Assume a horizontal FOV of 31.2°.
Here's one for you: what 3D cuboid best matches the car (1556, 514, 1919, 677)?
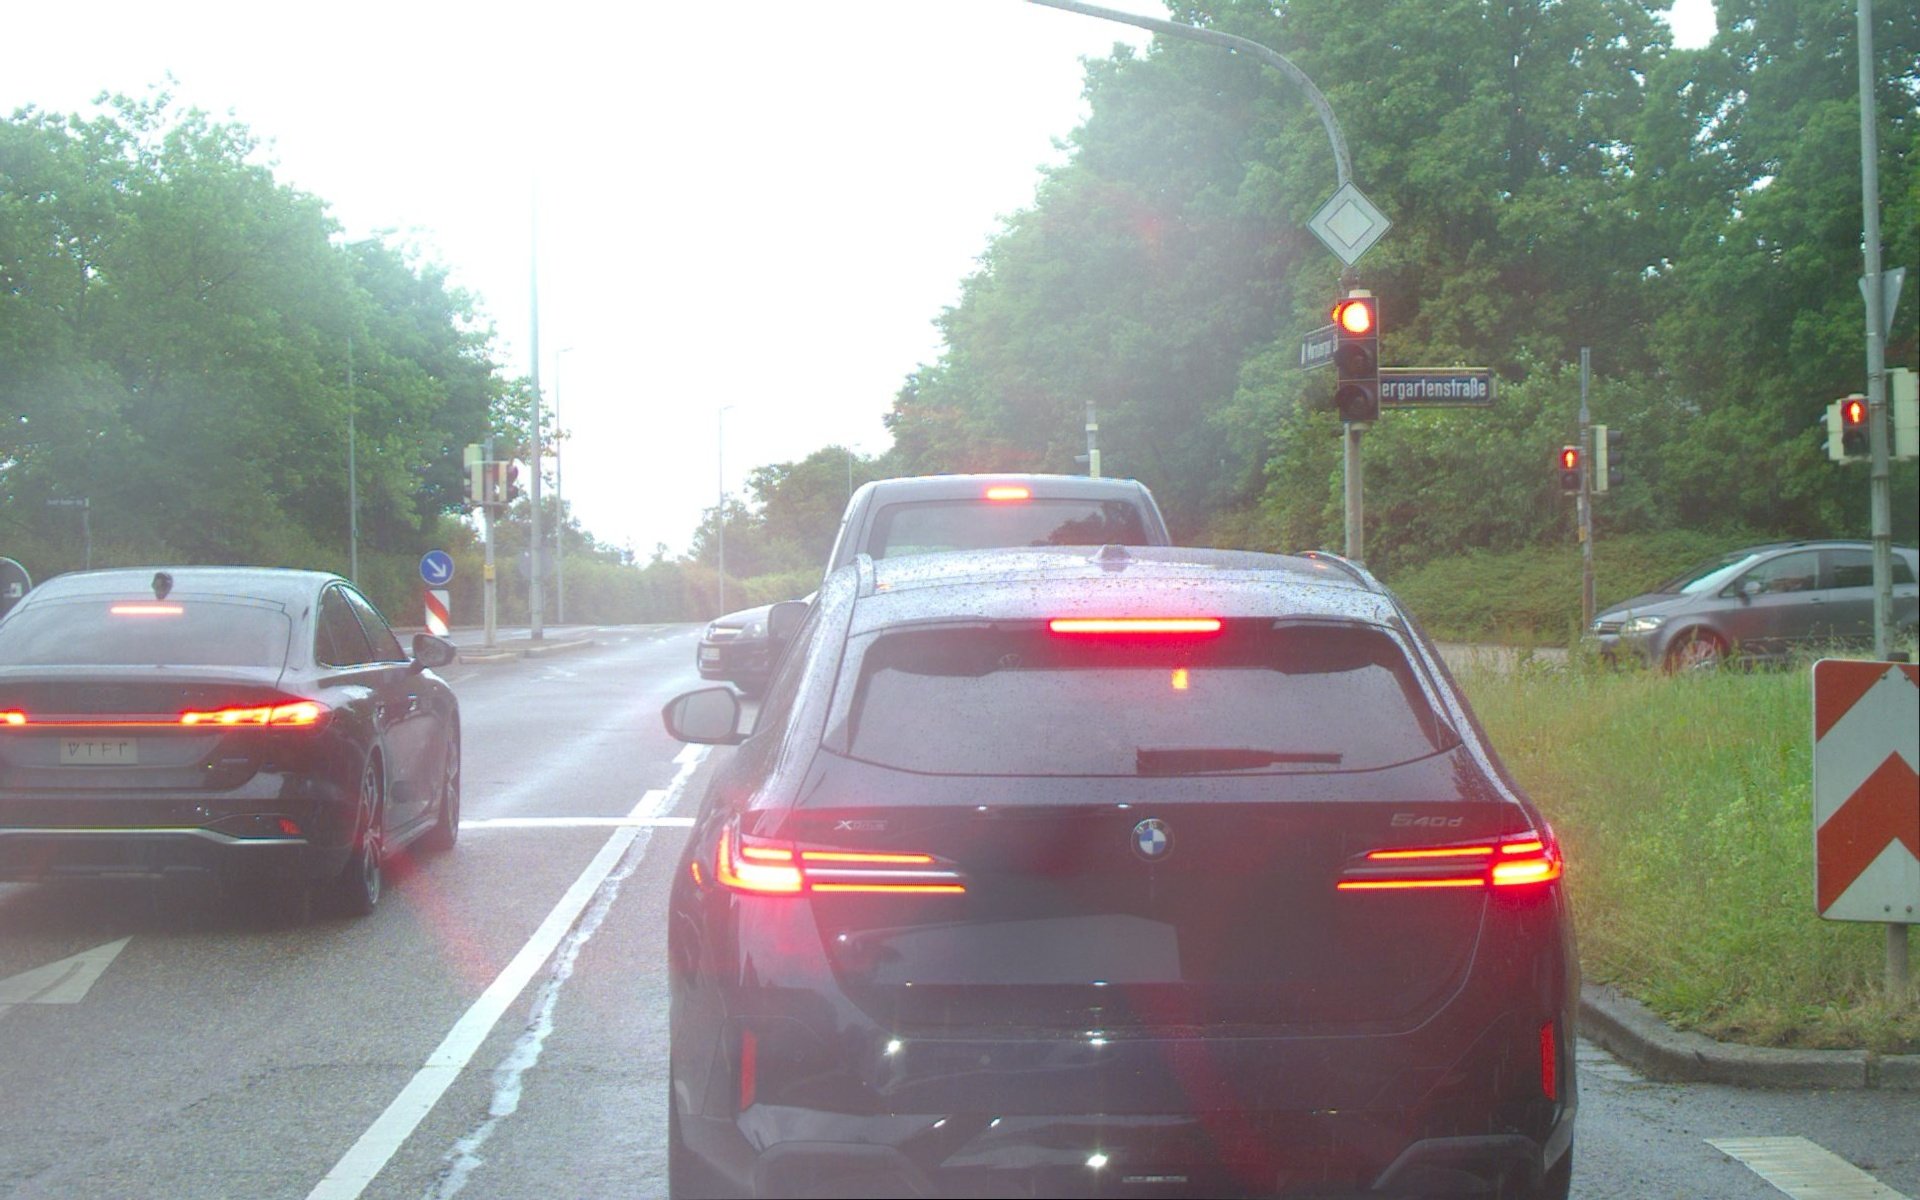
[{"bbox_3d":[8.747,-0.072,37.528,4.017,1.596,1.749,-2,1,-10],"label":"car"}]

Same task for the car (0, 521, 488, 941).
[{"bbox_3d":[-3.380,0.488,15.005,1.993,1.522,4.328,-2,0,0],"label":"car"}]

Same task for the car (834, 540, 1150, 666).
[{"bbox_3d":[0.391,0.042,42.738,3.508,1.422,1.700,-2,1,30],"label":"car"}]

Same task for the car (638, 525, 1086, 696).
[{"bbox_3d":[-0.980,0.082,34.110,3.986,1.504,1.902,-2,1,-22],"label":"car"}]

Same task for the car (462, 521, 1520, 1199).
[{"bbox_3d":[0.164,0.641,8.491,1.898,1.546,4.614,0,0,3],"label":"car"}]

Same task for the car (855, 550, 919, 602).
[{"bbox_3d":[-2.411,-0.810,114.401,1.993,1.618,3.952,-2,0,0],"label":"car"}]

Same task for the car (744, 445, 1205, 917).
[{"bbox_3d":[0.052,0.306,15.600,1.818,1.862,3.952,0,0,0],"label":"car"}]

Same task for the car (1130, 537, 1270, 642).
[{"bbox_3d":[3.772,-0.178,54.668,1.873,1.537,3.952,-2,0,0],"label":"car"}]
